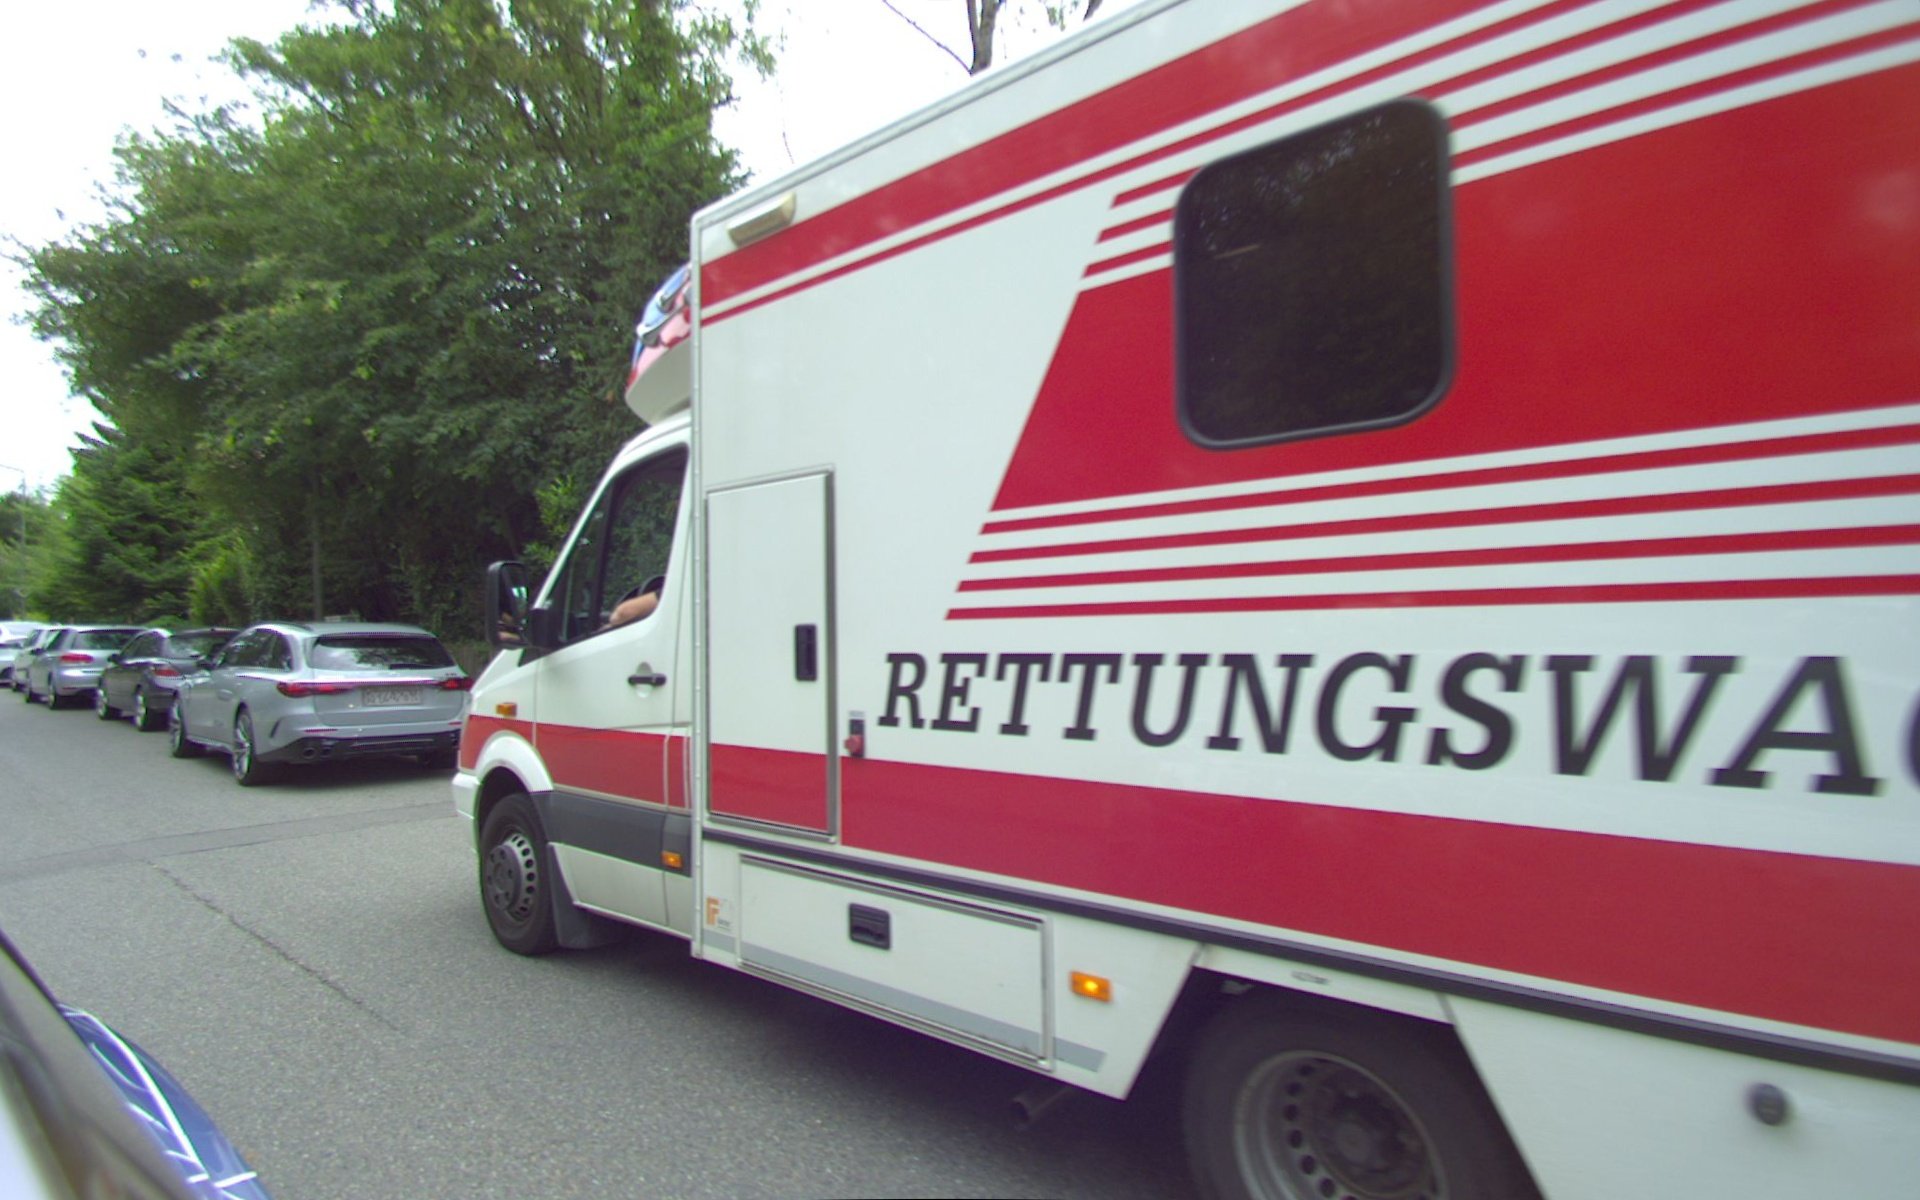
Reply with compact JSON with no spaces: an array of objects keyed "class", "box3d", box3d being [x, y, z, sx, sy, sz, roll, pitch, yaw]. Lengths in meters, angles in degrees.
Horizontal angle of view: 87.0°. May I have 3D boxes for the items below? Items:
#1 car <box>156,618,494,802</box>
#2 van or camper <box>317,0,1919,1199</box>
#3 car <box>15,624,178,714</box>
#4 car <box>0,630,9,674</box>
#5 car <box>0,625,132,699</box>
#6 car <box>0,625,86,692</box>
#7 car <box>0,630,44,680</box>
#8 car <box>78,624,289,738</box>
[{"class":"car","box3d":[-6.859,0.990,10.675,4.862,1.516,1.778,-2,-3,43]},{"class":"van or camper","box3d":[0.394,-0.059,3.464,7.163,2.917,2.431,-2,-2,41]},{"class":"car","box3d":[-16.207,1.232,18.928,4.006,1.516,1.702,-2,-3,41]},{"class":"car","box3d":[-33.927,1.760,34.396,4.257,1.450,1.717,-2,-2,38]},{"class":"car","box3d":[-20.254,1.363,22.784,3.812,1.516,1.704,-2,-3,38]},{"class":"car","box3d":[-24.211,1.465,25.930,4.598,1.574,1.898,-2,-3,38]},{"class":"car","box3d":[-29.420,1.640,30.755,4.114,1.450,1.815,-2,-3,41]},{"class":"car","box3d":[-11.921,1.144,15.452,4.057,1.516,1.703,-1,-3,40]}]
